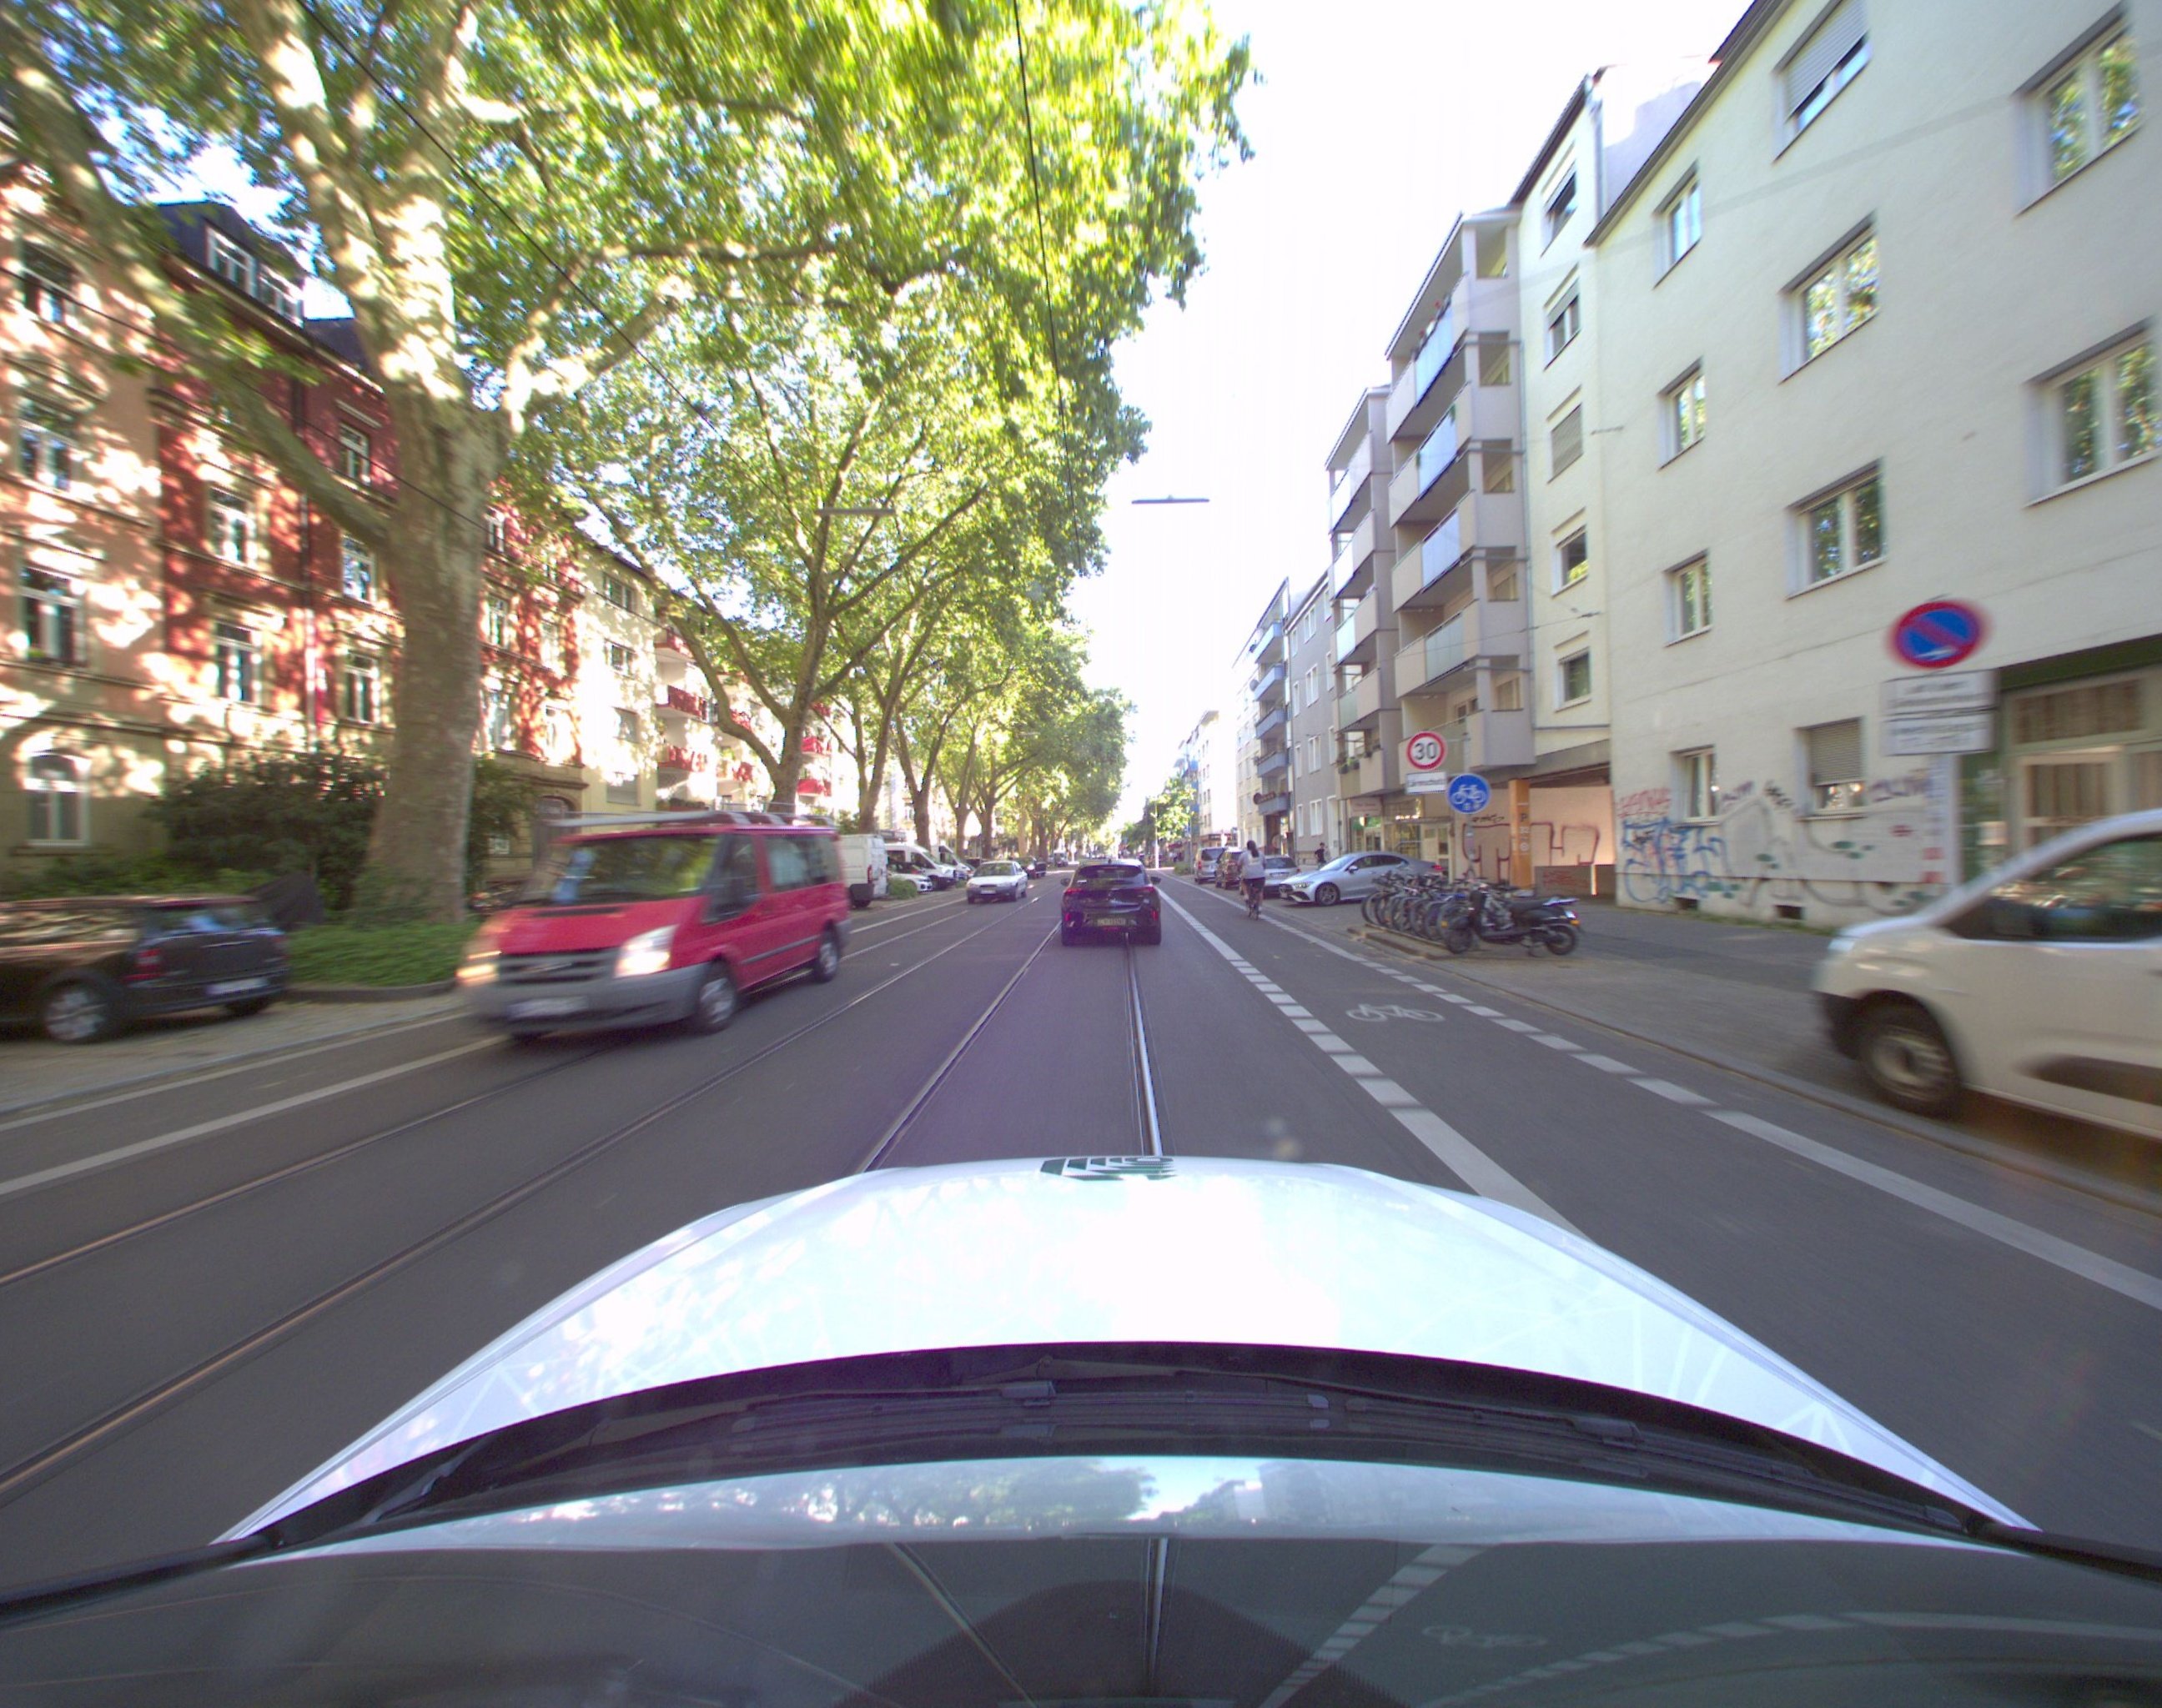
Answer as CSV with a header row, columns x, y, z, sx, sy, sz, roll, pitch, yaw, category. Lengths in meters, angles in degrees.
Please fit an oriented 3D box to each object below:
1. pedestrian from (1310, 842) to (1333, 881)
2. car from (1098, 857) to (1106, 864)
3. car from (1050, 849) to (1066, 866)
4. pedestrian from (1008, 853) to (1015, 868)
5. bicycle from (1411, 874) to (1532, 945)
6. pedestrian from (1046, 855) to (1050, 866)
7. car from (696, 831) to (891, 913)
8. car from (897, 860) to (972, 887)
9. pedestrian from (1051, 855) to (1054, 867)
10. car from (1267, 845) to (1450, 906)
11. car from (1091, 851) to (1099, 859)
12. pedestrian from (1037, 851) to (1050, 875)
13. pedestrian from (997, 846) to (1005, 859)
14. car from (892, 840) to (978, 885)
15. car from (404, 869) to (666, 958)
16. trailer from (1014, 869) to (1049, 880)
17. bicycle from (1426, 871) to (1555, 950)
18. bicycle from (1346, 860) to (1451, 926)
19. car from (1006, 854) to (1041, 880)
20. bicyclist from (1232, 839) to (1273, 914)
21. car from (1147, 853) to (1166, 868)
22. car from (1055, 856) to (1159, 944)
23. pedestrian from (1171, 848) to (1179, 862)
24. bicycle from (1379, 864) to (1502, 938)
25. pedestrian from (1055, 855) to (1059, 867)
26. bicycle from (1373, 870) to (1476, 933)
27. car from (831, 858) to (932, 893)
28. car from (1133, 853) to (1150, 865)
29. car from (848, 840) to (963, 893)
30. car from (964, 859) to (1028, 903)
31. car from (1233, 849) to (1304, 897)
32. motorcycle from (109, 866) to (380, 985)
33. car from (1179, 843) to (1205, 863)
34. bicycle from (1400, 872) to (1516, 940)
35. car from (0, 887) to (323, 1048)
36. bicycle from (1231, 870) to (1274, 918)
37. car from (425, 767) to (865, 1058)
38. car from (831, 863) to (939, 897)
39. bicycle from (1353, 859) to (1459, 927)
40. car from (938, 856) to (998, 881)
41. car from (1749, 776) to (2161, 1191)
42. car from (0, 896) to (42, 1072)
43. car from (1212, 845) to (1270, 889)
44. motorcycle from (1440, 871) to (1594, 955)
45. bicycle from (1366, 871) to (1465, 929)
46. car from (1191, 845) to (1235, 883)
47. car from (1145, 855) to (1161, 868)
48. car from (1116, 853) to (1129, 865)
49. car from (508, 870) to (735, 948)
x,y,z,sx,sy,sz,roll,pitch,yaw,category
10.826,0.323,36.669,0.753,1.720,0.720,-2,0,1,pedestrian
4.983,1.513,192.640,1.742,1.651,4.004,-2,0,4,car
-3.557,0.498,126.030,2.084,2.584,6.000,-2,0,2,car
-8.800,0.866,103.033,0.903,1.869,0.643,-2,0,-4,pedestrian
6.209,0.875,12.972,1.646,0.987,0.457,-4,0,2,bicycle
-4.408,0.871,109.757,0.505,1.583,0.526,-2,0,-2,pedestrian
-9.555,0.577,27.425,5.718,2.536,2.164,-1,0,2,car
-8.631,1.137,48.099,4.003,1.466,1.874,-1,0,3,car
-3.811,0.993,110.299,0.345,1.583,0.508,-2,0,1,pedestrian
7.939,0.582,23.478,4.612,1.437,1.859,-3,0,-9,car
4.104,0.189,239.591,1.988,2.211,5.099,-2,0,-2,car
-2.750,0.664,59.882,0.711,1.735,0.909,-3,0,-12,pedestrian
-9.947,-0.168,101.414,0.844,1.632,0.643,-2,0,-4,pedestrian
-9.049,0.529,50.781,4.929,2.567,2.081,-2,0,-1,car
-10.191,1.087,15.383,3.777,1.460,1.706,-2,0,3,car
-3.864,1.595,64.904,2.152,0.632,6.404,-2,0,2,trailer
6.190,0.845,12.345,1.646,1.055,0.457,-4,0,2,bicycle
6.384,0.780,16.417,1.885,1.191,0.457,-4,0,2,bicycle
-4.134,0.904,59.476,1.986,1.700,4.487,-3,0,2,car
4.174,0.546,19.836,0.783,1.759,0.915,-1,-1,2,bicyclist
8.616,0.730,93.401,1.713,1.574,4.082,-2,0,-1,car
0.486,0.751,14.973,1.673,1.422,3.629,0,0,2,car
11.942,0.115,103.927,0.761,1.748,0.800,-2,0,25,pedestrian
6.271,0.804,14.271,1.787,1.148,0.705,-4,0,2,bicycle
-3.248,0.943,109.957,0.505,1.583,0.527,-2,0,2,pedestrian
6.288,0.859,14.945,1.646,1.020,0.457,-4,0,2,bicycle
-9.640,1.041,39.525,4.354,1.539,1.873,-1,0,2,car
8.704,0.749,117.831,1.988,1.640,3.997,-2,0,-2,car
-8.981,0.626,42.018,5.339,2.477,2.058,-2,0,2,car
-2.912,0.898,28.734,1.712,1.359,4.470,-2,0,1,car
6.496,0.612,28.588,1.717,1.525,4.518,-2,0,4,car
-12.978,1.021,12.879,1.048,1.631,3.013,0,-1,2,motorcycle
9.317,-0.085,68.477,1.850,1.651,4.004,-2,0,4,car
6.226,0.850,13.484,1.646,0.987,0.457,-4,0,2,bicycle
-10.978,1.182,8.855,3.969,1.460,1.706,-2,0,4,car
4.190,0.959,20.010,0.698,1.092,1.991,0,-1,2,bicycle
-4.178,0.470,9.033,1.910,2.227,4.963,-4,0,2,car
-8.898,1.155,37.245,4.393,1.384,1.934,-1,0,2,car
6.349,0.754,15.936,1.816,1.191,0.457,-4,0,2,bicycle
-8.184,1.039,59.285,3.973,1.647,1.894,-2,0,1,car
5.599,0.494,3.487,1.852,1.820,4.352,-5,-1,2,car
-11.077,1.155,6.265,3.971,1.460,1.771,-2,0,2,car
6.817,0.532,35.095,1.760,1.705,4.284,-2,0,2,car
6.065,0.826,11.424,1.801,1.080,0.621,-3,-1,25,motorcycle
6.330,0.861,15.453,1.646,0.966,0.457,-4,0,2,bicycle
7.040,0.503,43.900,1.850,1.890,4.930,-2,0,4,car
8.747,0.844,98.988,1.712,1.490,3.682,-2,0,1,car
6.538,0.775,127.165,1.850,1.651,4.004,-2,0,4,car
-10.106,1.186,18.117,3.970,1.496,1.832,-2,0,3,car
